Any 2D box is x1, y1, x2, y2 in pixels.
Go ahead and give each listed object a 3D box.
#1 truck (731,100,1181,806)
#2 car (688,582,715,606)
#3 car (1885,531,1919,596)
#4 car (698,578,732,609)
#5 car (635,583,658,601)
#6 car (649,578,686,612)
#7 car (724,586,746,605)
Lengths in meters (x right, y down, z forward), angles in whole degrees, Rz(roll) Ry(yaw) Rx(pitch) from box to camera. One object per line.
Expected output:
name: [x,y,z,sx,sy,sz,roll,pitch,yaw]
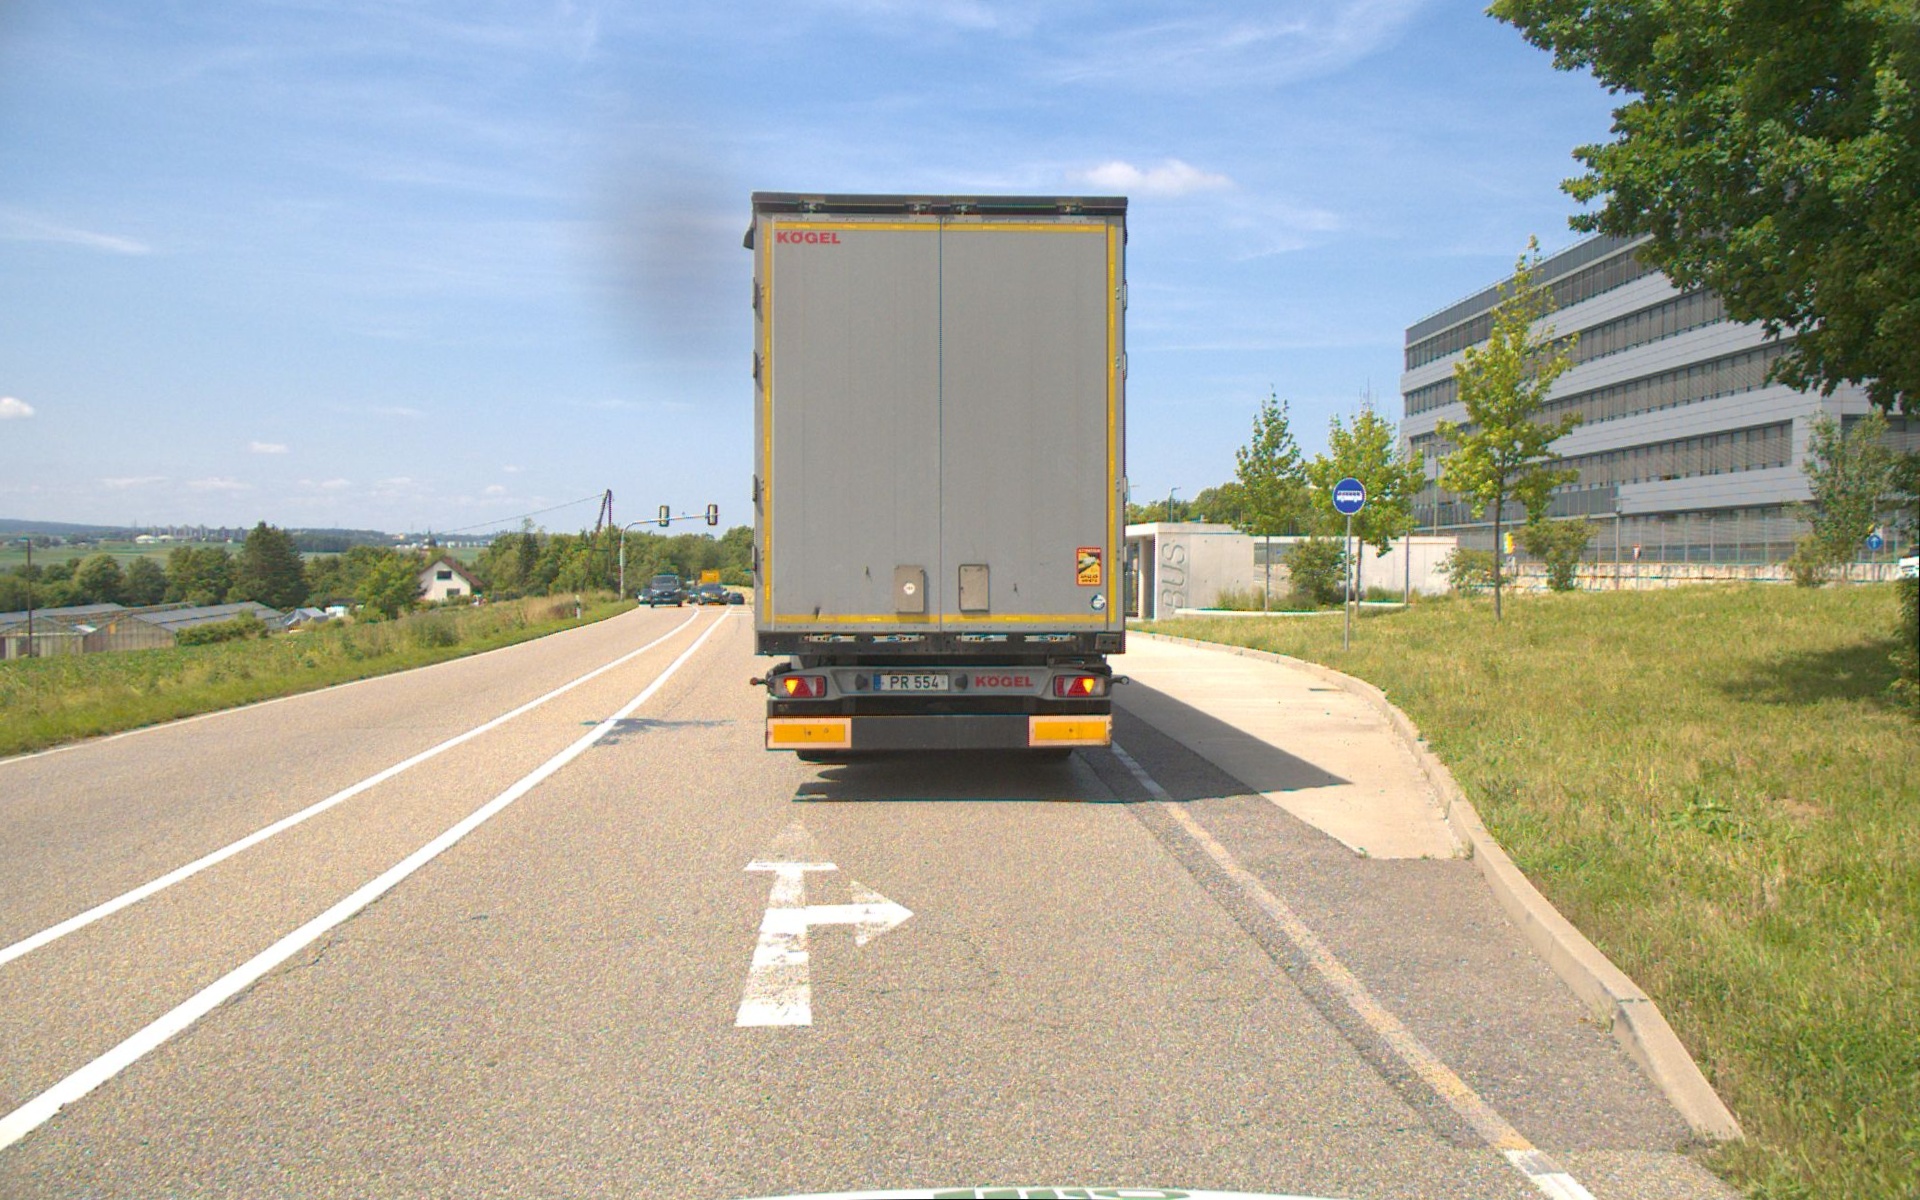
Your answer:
truck: [-0.190,-0.987,15.055,2.849,4.487,8.856,1,1,-2]
car: [-21.791,-0.507,139.517,1.955,1.847,4.291,-2,1,-6]
car: [29.503,-1.161,48.329,3.909,1.845,1.754,-3,0,-4]
car: [-16.621,-0.476,112.329,1.955,1.983,4.497,-2,1,-6]
car: [-32.266,-0.808,170.477,1.955,1.819,3.995,-2,1,-6]
car: [-18.444,-0.366,104.379,1.956,2.013,5.271,-2,1,-7]
car: [-25.099,-0.493,184.336,2.129,2.048,4.522,-2,1,-5]
